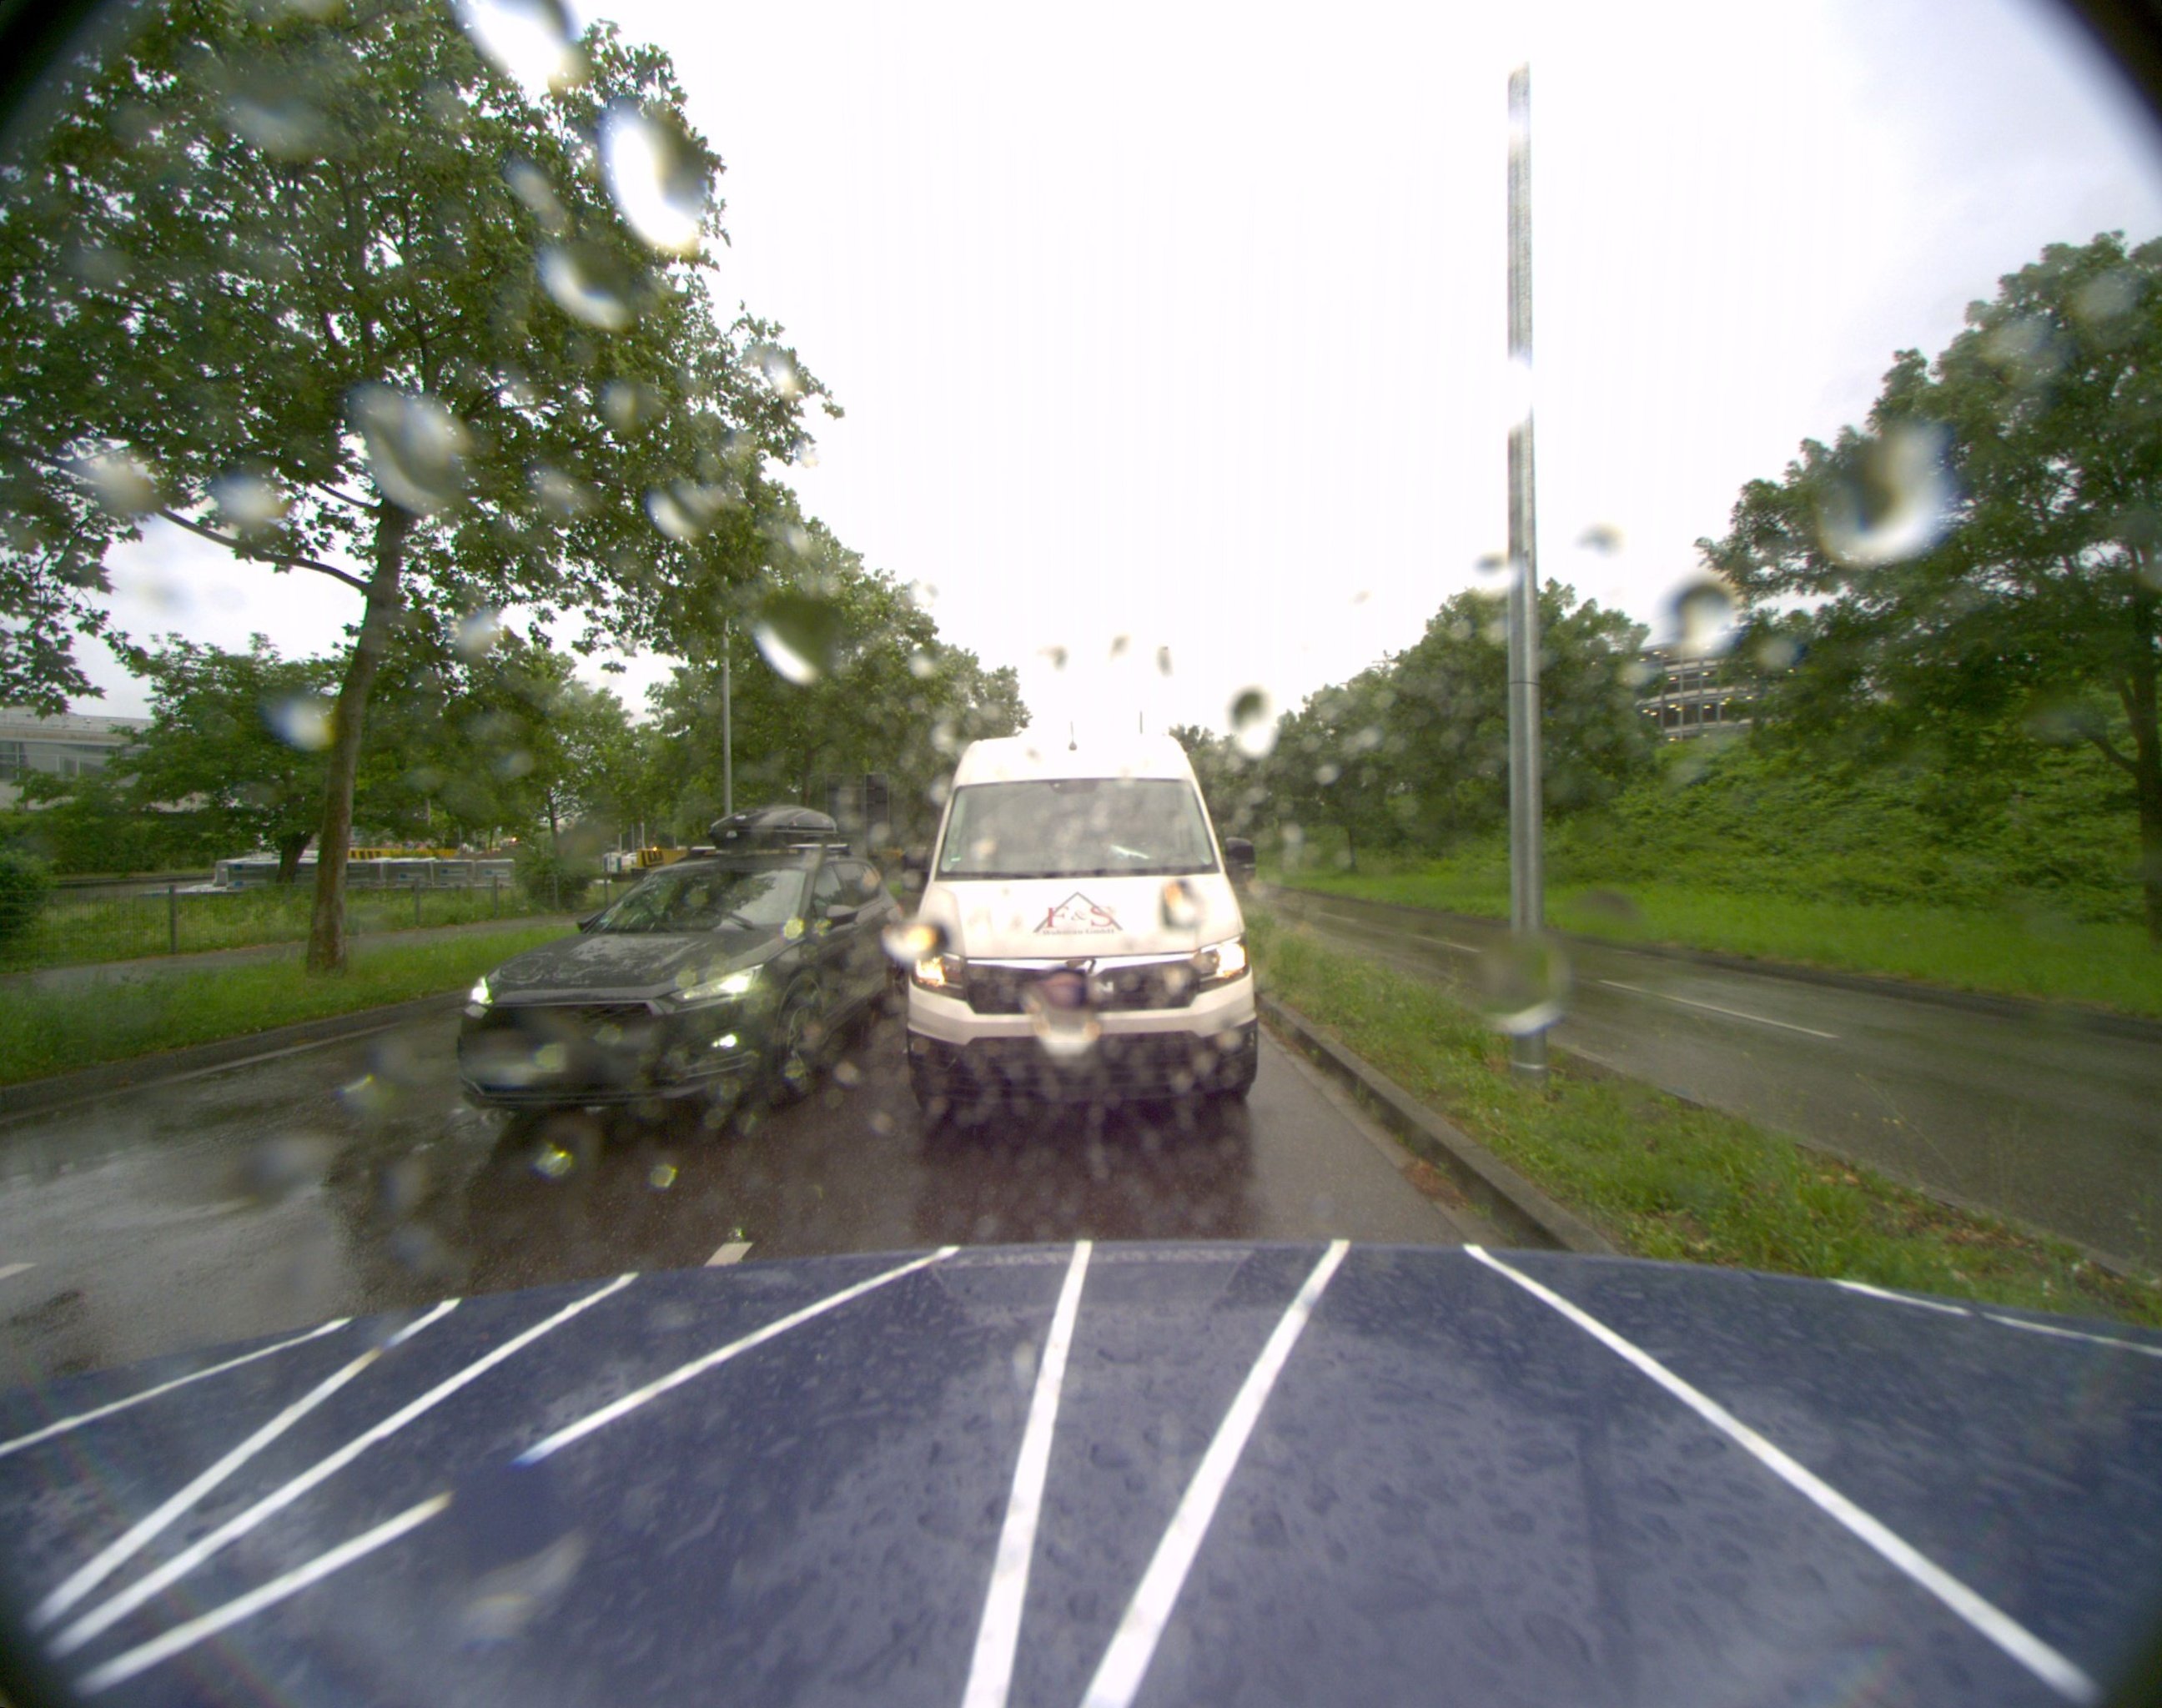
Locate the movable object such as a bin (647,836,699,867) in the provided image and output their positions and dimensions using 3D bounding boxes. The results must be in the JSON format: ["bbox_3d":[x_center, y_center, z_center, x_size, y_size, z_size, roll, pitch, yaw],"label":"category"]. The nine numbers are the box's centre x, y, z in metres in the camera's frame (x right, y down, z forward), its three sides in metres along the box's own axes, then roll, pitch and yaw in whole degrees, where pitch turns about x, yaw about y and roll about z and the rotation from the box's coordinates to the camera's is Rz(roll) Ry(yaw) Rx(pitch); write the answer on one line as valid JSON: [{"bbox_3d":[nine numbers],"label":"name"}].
[{"bbox_3d":[-48.076,-0.345,89.552,1.913,3.415,4.947,-1,1,35],"label":"movable object such as a bin"}]

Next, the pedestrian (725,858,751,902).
[{"bbox_3d":[-13.775,1.036,30.548,0.646,1.707,0.656,-2,1,1],"label":"pedestrian"}]

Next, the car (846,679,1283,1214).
[{"bbox_3d":[-0.121,0.429,6.449,2.027,2.498,5.695,-1,0,-1],"label":"car"}]

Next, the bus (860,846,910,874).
[{"bbox_3d":[-19.142,0.553,74.384,4.370,2.553,1.711,-2,1,0],"label":"bus"}]

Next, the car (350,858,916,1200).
[{"bbox_3d":[-2.773,0.907,6.107,1.894,1.688,4.423,-1,0,0],"label":"car"}]

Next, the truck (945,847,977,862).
[{"bbox_3d":[-20.981,0.058,132.612,5.061,2.363,1.792,-3,1,-30],"label":"truck"}]

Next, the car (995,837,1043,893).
[{"bbox_3d":[-2.864,0.487,36.056,1.894,2.432,5.317,-1,0,-1],"label":"car"}]
